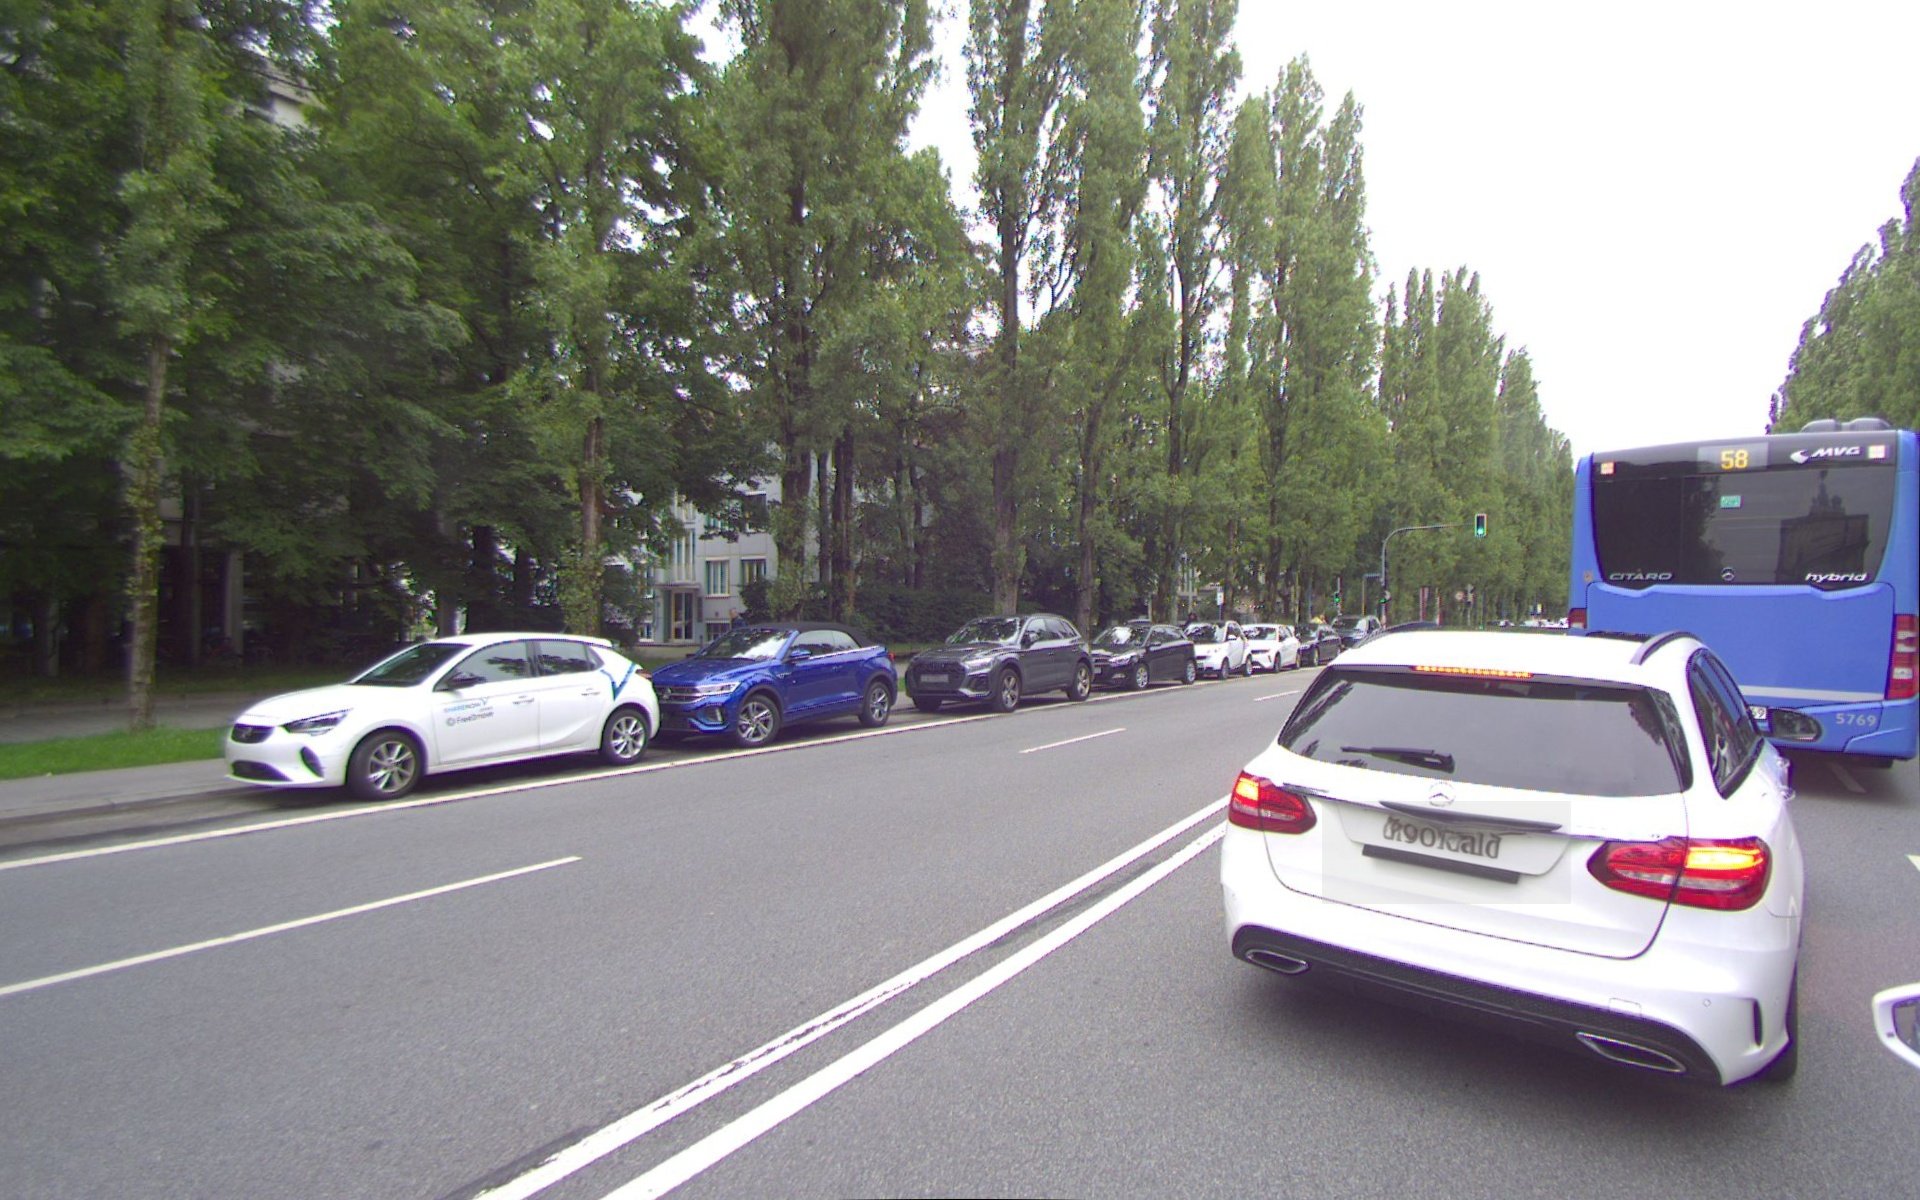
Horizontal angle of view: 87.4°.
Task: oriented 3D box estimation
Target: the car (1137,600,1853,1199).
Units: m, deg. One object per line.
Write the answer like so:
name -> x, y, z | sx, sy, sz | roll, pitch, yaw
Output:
car -> 2.722, 0.791, 4.661 | 1.803, 1.474, 4.563 | 1, 0, 38

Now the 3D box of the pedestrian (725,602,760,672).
pedestrian -> -5.538, 0.941, 25.614 | 0.591, 1.762, 0.638 | 0, -1, 35

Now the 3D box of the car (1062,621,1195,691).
car -> 3.949, 1.255, 23.117 | 1.519, 1.452, 3.858 | -4, -3, 34

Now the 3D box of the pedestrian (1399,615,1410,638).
pedestrian -> 40.509, 2.400, 91.558 | 0.818, 2.040, 0.776 | 0, -1, 32

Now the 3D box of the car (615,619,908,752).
car -> -2.551, 1.056, 13.884 | 1.717, 1.539, 4.111 | -2, -2, 29

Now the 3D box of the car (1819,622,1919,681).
car -> 27.876, 1.512, 30.855 | 1.784, 1.639, 3.988 | 0, -1, 34

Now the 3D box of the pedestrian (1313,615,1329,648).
pedestrian -> 22.618, 1.984, 62.921 | 0.819, 2.040, 0.775 | 0, -1, 33

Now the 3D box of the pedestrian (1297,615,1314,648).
pedestrian -> 21.764, 1.974, 63.238 | 0.819, 2.040, 0.775 | 0, -1, 33

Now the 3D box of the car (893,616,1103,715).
car -> 0.823, 1.118, 18.208 | 1.767, 1.568, 4.326 | -4, -3, 34

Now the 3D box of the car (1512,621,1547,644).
car -> 39.277, 2.232, 69.226 | 1.797, 1.506, 3.988 | 0, -1, 34

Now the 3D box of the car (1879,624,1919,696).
car -> 22.078, 1.302, 22.374 | 1.774, 1.495, 3.988 | 0, -1, 34

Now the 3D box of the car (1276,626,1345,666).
car -> 12.357, 1.585, 35.264 | 1.272, 1.290, 3.836 | 0, -1, 35

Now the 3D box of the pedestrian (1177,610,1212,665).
pedestrian -> 7.765, 1.214, 33.188 | 0.810, 1.787, 1.078 | 0, -1, 33

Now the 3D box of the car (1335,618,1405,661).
car -> 16.108, 1.510, 39.361 | 1.685, 1.572, 3.986 | 0, -1, 35

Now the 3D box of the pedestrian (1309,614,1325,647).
pedestrian -> 19.550, 1.670, 55.003 | 0.693, 1.759, 0.807 | 0, -1, 34

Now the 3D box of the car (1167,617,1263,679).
car -> 7.014, 1.260, 27.410 | 1.391, 1.572, 3.432 | 0, -1, 35

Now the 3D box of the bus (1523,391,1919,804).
bus -> 9.479, 0.031, 12.229 | 2.823, 3.256, 9.014 | 1, 0, 41

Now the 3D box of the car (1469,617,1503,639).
car -> 38.576, 2.025, 73.624 | 1.797, 1.506, 3.988 | 0, -1, 34

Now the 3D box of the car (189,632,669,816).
car -> -5.083, 1.067, 10.148 | 1.662, 1.431, 3.993 | -2, -2, 34

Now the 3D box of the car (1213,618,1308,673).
car -> 9.201, 1.338, 30.582 | 1.685, 1.568, 3.988 | -1, -1, 34

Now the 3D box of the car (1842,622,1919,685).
car -> 24.916, 1.370, 26.647 | 1.761, 1.511, 3.988 | 0, -1, 34
